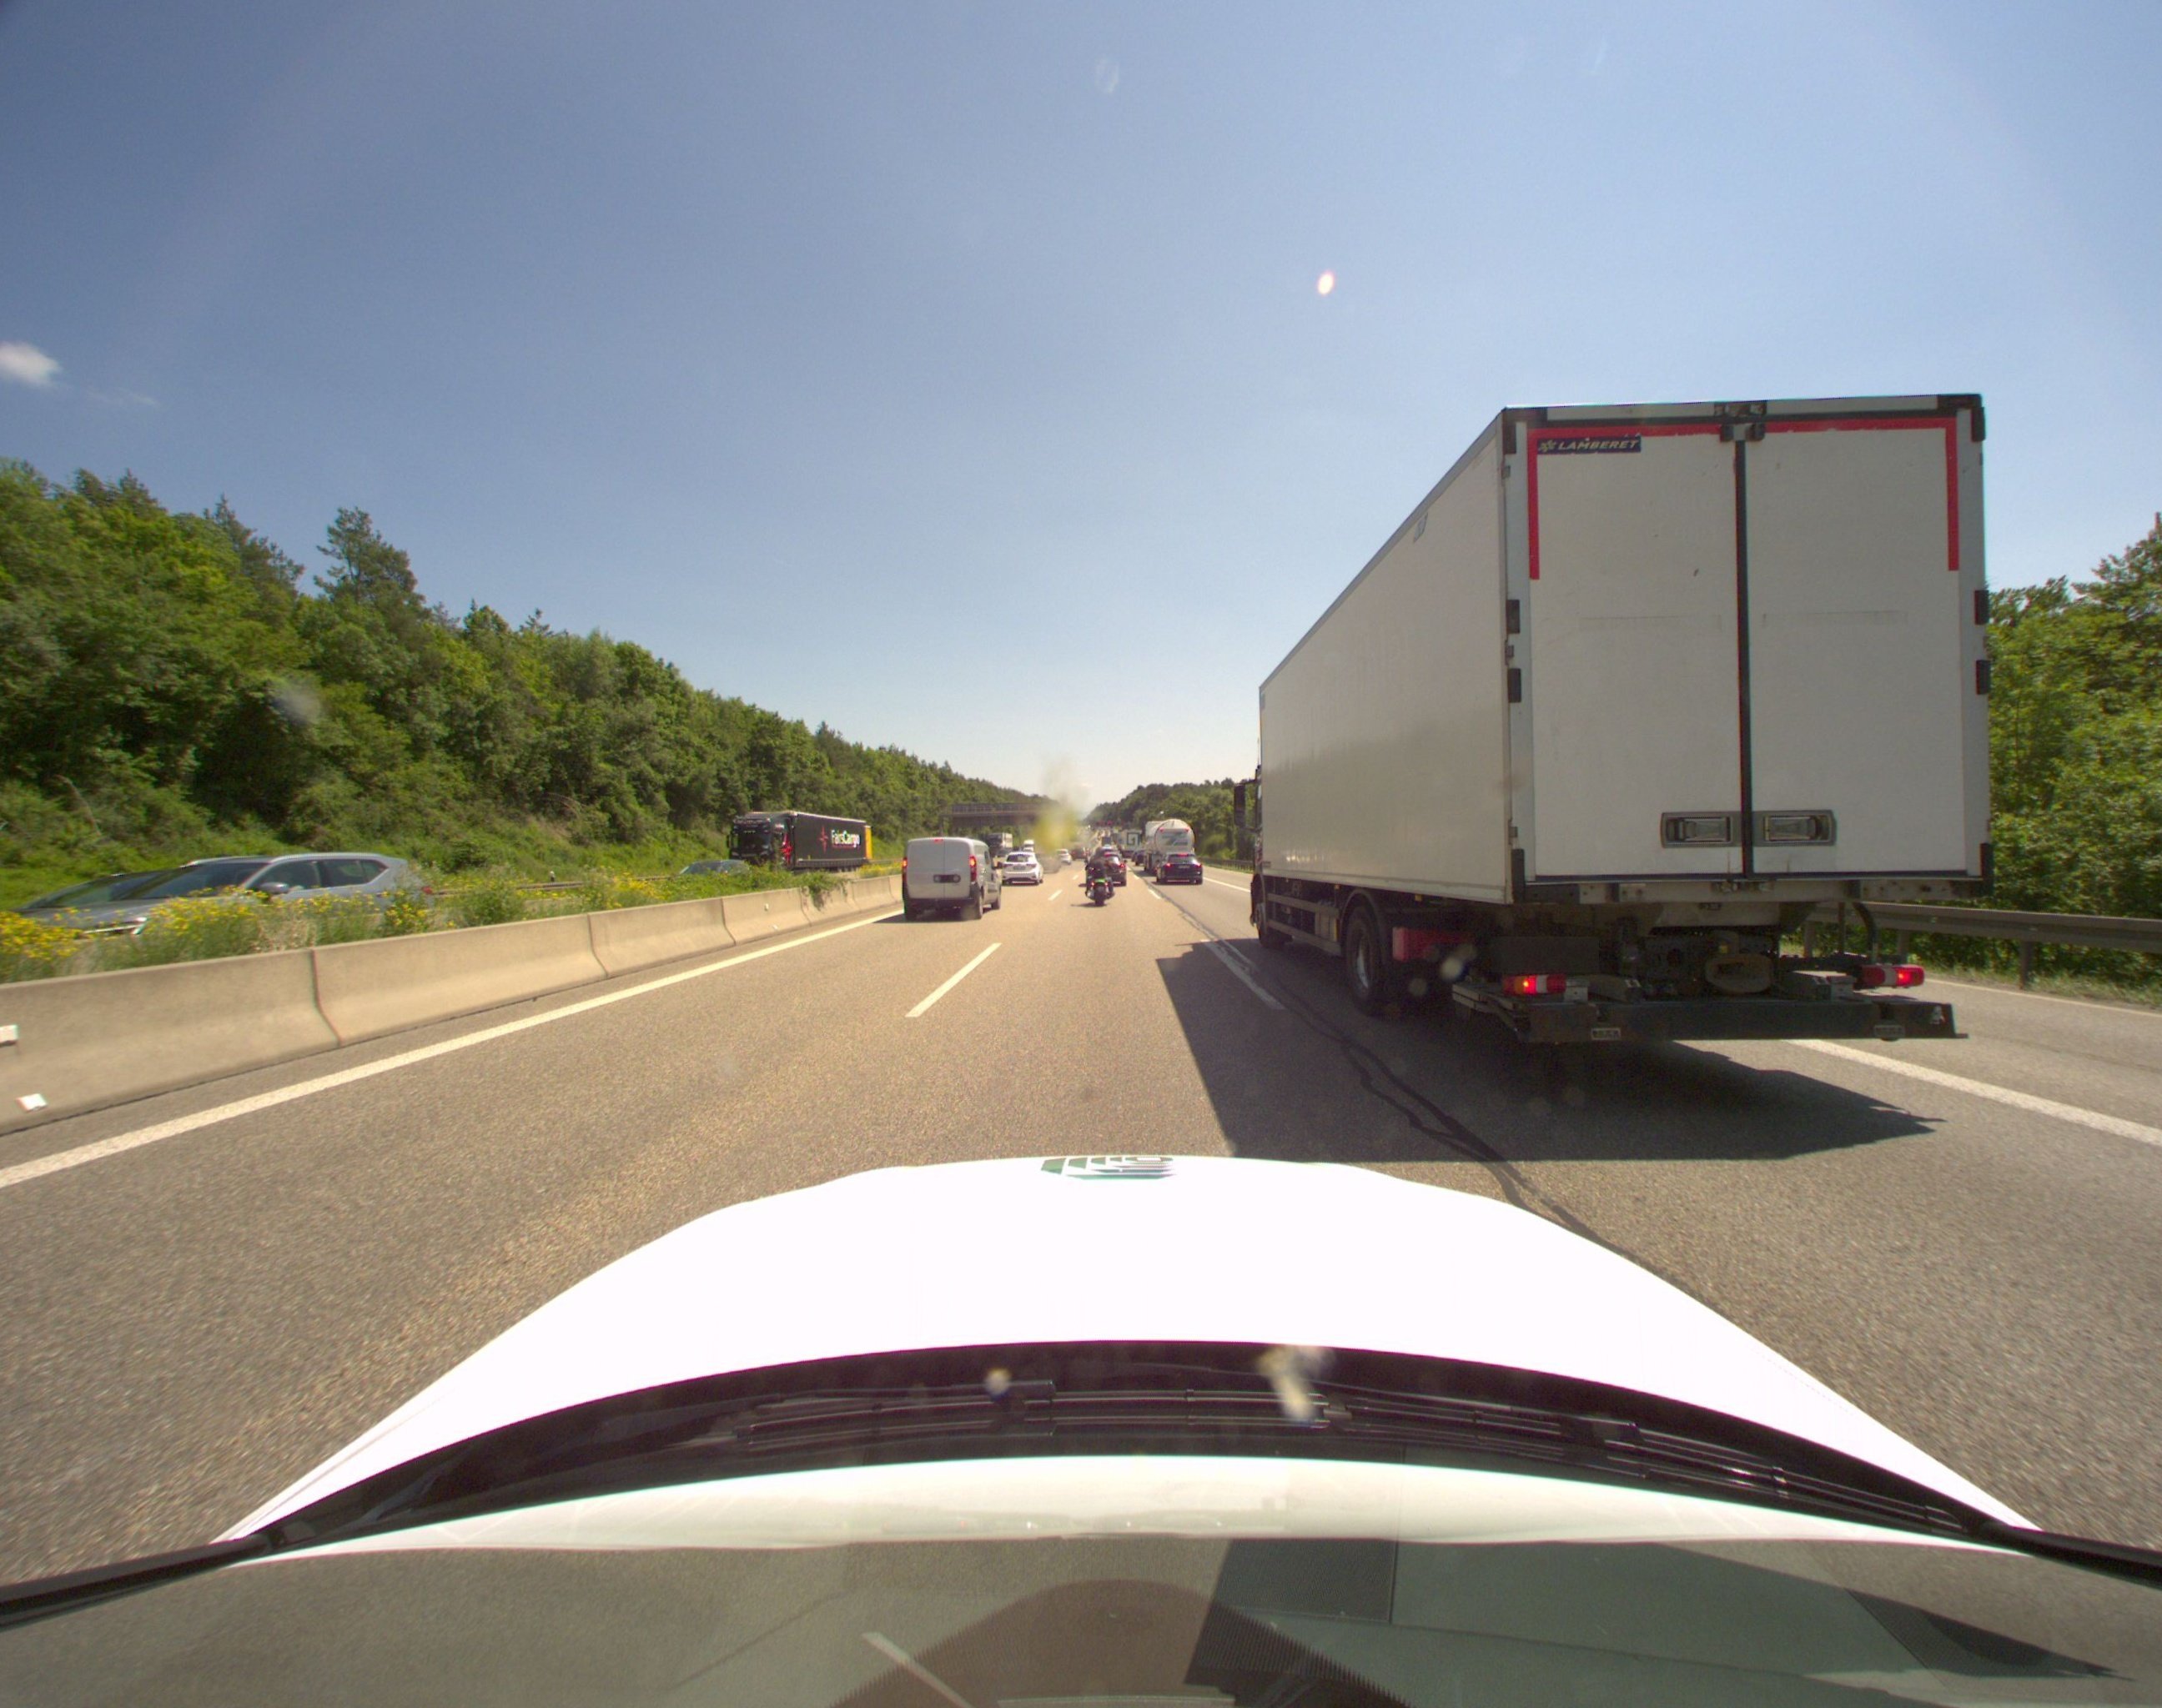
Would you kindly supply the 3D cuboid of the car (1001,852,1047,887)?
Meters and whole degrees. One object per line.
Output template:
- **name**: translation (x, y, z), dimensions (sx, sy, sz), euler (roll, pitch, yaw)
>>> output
- **car**: translation (-2.591, 0.668, 37.721), dimensions (1.693, 1.478, 4.002), euler (-1, 0, 2)

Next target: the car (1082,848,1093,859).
- **car**: translation (1.352, -0.135, 163.039), dimensions (1.986, 2.014, 4.002), euler (-3, -1, 2)

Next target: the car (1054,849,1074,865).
- **car**: translation (-1.639, 0.270, 78.568), dimensions (1.693, 1.478, 4.002), euler (-1, 0, 2)

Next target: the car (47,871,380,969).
- **car**: translation (-15.163, 1.059, 14.616), dimensions (1.557, 1.366, 4.002), euler (-2, 0, 2)

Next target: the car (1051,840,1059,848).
- **car**: translation (-7.546, -2.928, 236.823), dimensions (1.872, 2.013, 4.470), euler (-4, -1, 2)

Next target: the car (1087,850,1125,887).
- **car**: translation (1.099, 0.614, 36.196), dimensions (1.527, 1.510, 4.001), euler (-3, 0, 1)

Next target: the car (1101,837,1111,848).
- **car**: translation (6.182, -2.866, 199.596), dimensions (2.495, 2.587, 5.018), euler (-1, 0, 2)

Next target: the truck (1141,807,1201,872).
- **truck**: translation (5.599, -0.803, 52.374), dimensions (2.976, 3.671, 9.291), euler (-3, -1, 2)

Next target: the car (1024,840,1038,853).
- **car**: translation (-9.518, -1.428, 156.155), dimensions (1.986, 2.377, 7.368), euler (-1, 0, 2)

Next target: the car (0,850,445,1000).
- **car**: translation (-10.640, 0.743, 10.529), dimensions (1.557, 1.519, 4.002), euler (-2, 0, 2)

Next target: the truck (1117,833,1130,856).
- **truck**: translation (9.816, -2.209, 188.752), dimensions (3.022, 5.139, 9.987), euler (0, 0, 2)

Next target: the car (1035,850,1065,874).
- **car**: translation (-2.028, 0.512, 54.445), dimensions (1.693, 1.478, 4.002), euler (-1, 0, 2)

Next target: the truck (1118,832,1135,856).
- **truck**: translation (8.802, -1.968, 158.734), dimensions (3.022, 4.542, 9.987), euler (0, 0, 2)

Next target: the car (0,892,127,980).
- **car**: translation (-20.842, 1.601, 15.055), dimensions (1.557, 1.519, 4.002), euler (-2, 0, 2)

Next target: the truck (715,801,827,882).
- **truck**: translation (-17.107, -0.590, 45.655), dimensions (2.895, 3.974, 7.772), euler (-3, -1, 2)

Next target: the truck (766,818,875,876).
- **truck**: translation (-20.427, -0.400, 65.527), dimensions (3.026, 3.983, 16.270), euler (-2, -1, 2)

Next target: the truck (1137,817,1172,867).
- **truck**: translation (5.460, -0.867, 61.318), dimensions (1.987, 3.522, 4.749), euler (-3, -1, 0)

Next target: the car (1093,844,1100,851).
- **car**: translation (4.591, -1.770, 236.577), dimensions (1.986, 2.013, 4.002), euler (-1, 0, 2)

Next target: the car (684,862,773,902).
- **car**: translation (-13.577, 1.034, 31.614), dimensions (1.557, 1.366, 4.002), euler (-2, 0, 2)

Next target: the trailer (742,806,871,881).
- **trailer**: translation (-16.903, -0.509, 51.704), dimensions (2.895, 3.974, 13.893), euler (-3, -1, 2)

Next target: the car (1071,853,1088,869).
- **car**: translation (-0.187, 0.961, 111.076), dimensions (1.986, 2.014, 4.002), euler (-3, -1, 2)

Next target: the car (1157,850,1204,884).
- **car**: translation (4.534, 0.554, 37.637), dimensions (1.822, 1.470, 4.002), euler (0, 0, 2)

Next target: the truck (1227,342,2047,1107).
- **truck**: translation (3.794, -0.668, 9.199), dimensions (2.678, 3.876, 9.785), euler (-4, 0, 2)

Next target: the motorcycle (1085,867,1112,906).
- **motorcycle**: translation (0.521, 0.899, 22.988), dimensions (0.688, 1.015, 2.123), euler (-1, 0, 3)

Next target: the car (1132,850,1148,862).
- **car**: translation (7.008, 0.207, 97.253), dimensions (1.780, 1.374, 3.805), euler (-1, 0, 2)

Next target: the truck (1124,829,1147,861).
- **truck**: translation (7.973, -1.334, 120.017), dimensions (3.022, 4.542, 9.987), euler (0, 0, 2)

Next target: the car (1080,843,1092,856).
- **car**: translation (0.893, -0.759, 139.720), dimensions (1.922, 2.014, 4.002), euler (-3, -1, 2)

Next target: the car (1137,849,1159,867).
- **car**: translation (6.143, 0.368, 75.225), dimensions (1.780, 1.555, 3.805), euler (-1, 0, 2)

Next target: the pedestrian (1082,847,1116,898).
- **pedestrian**: translation (0.520, 0.514, 23.178), dimensions (0.846, 1.362, 0.962), euler (-3, 0, 3)

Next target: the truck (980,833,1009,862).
- **truck**: translation (-14.579, -1.044, 137.323), dimensions (3.711, 4.528, 7.327), euler (-3, -1, 1)

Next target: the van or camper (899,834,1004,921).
- **van or camper**: translation (-3.051, 0.537, 20.087), dimensions (1.789, 1.892, 4.161), euler (-1, -1, 2)

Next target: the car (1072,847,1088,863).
- **car**: translation (-0.081, 0.113, 101.291), dimensions (1.873, 1.859, 4.002), euler (-1, 0, 2)
